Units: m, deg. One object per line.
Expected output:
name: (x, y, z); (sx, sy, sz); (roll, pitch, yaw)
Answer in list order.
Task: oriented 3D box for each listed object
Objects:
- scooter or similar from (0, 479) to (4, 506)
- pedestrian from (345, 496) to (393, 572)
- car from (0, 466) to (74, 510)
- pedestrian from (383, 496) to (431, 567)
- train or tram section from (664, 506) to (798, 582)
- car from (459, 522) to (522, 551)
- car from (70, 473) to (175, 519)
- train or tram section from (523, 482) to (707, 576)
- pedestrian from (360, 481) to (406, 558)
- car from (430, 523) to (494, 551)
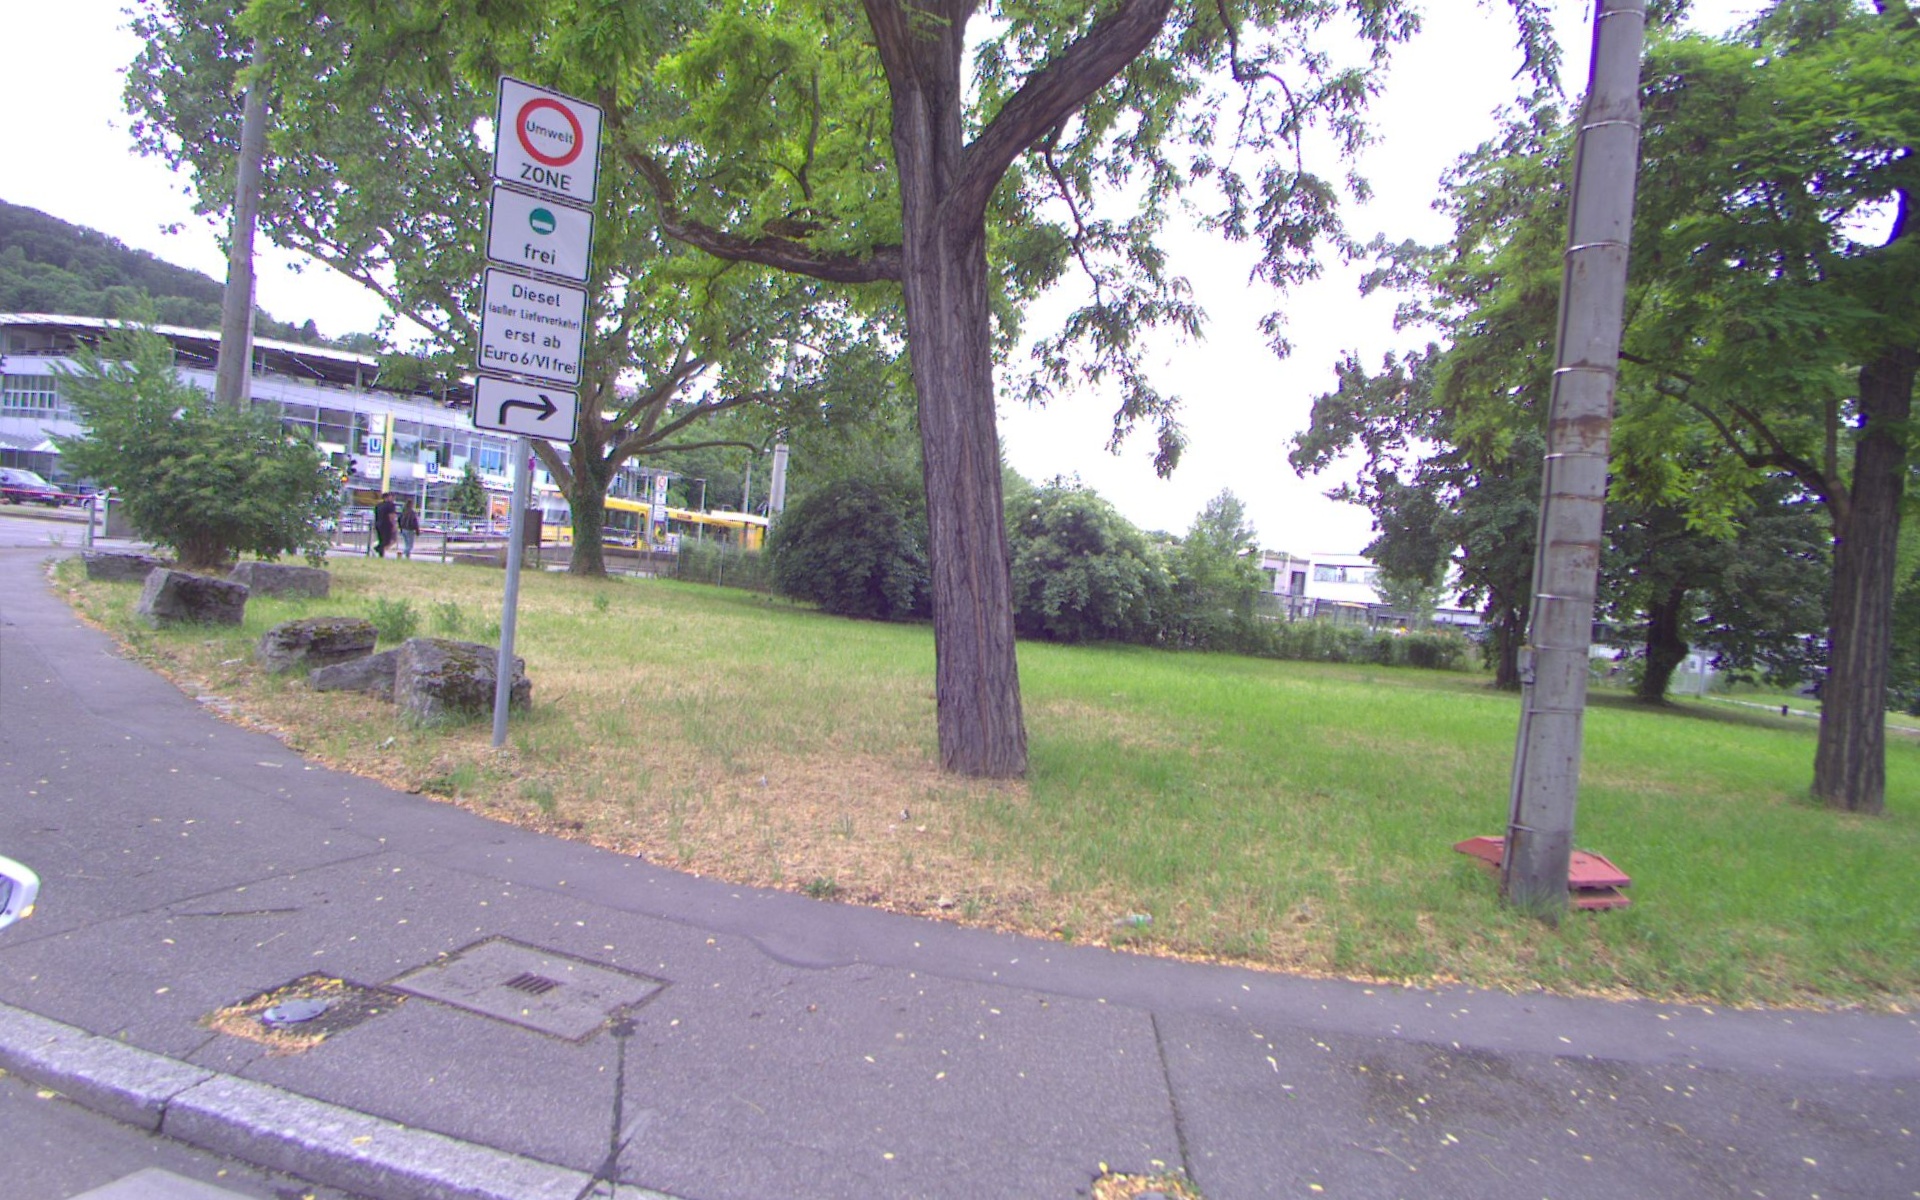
scooter or similar: (-42.933, -4.763, 44.143); (0.566, 1.303, 1.202); (6, -2, 35)
pedestrian: (-15.656, -1.736, 26.656); (0.593, 1.889, 0.672); (6, -1, 18)
car: (-44.259, -5.350, 47.233); (3.923, 1.660, 2.001); (7, 0, 13)
pedestrian: (-14.229, -1.759, 25.898); (0.593, 1.709, 0.672); (6, -1, 18)
train or tram section: (-14.634, -3.466, 65.714); (2.697, 4.019, 11.903); (6, 2, 17)
car: (-35.065, -4.727, 75.137); (3.926, 1.572, 1.929); (6, -2, 21)
car: (-42.934, -5.311, 51.594); (3.923, 1.658, 2.003); (7, -2, 13)
train or tram section: (-18.141, -3.567, 54.288); (2.697, 4.019, 11.903); (6, 2, 17)
pedestrian: (-14.985, -2.081, 26.121); (0.593, 1.891, 0.671); (6, 1, 18)
car: (-35.812, -4.542, 72.371); (3.926, 1.575, 1.925); (6, 2, 21)
